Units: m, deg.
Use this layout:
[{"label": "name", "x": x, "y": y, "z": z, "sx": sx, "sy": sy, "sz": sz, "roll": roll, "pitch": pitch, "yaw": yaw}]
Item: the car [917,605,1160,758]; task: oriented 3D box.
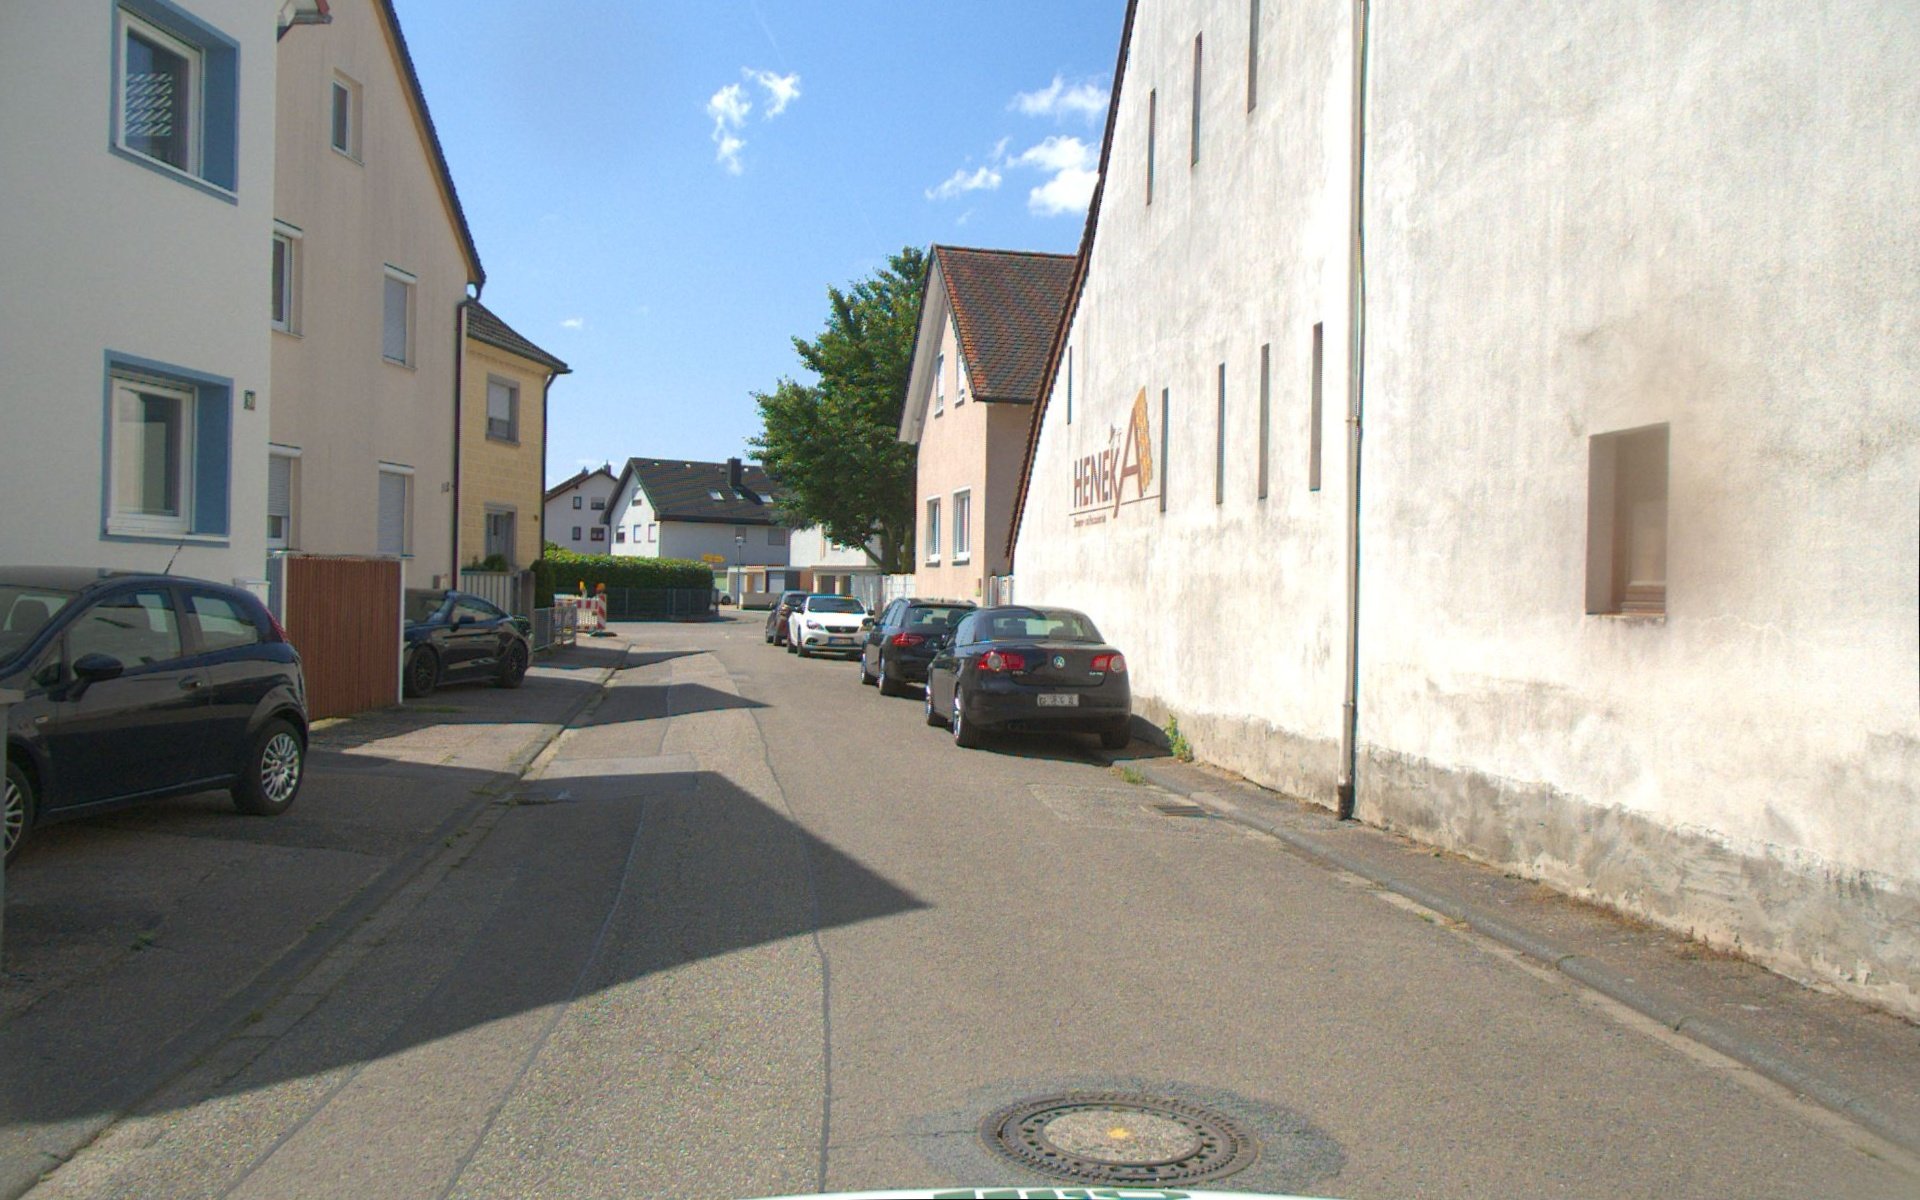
[{"label": "car", "x": 0.701, "y": 0.788, "z": 18.005, "sx": 1.860, "sy": 1.389, "sz": 4.407, "roll": 2, "pitch": 0, "yaw": -8}]

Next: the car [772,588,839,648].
[{"label": "car", "x": -4.385, "y": 0.484, "z": 46.515, "sx": 1.680, "sy": 1.559, "sz": 4.028, "roll": 2, "pitch": 0, "yaw": -8}]

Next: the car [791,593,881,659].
[{"label": "car", "x": -3.043, "y": 0.584, "z": 39.784, "sx": 1.860, "sy": 1.453, "sz": 4.729, "roll": 2, "pitch": 0, "yaw": -8}]

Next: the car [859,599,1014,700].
[{"label": "car", "x": -0.475, "y": 0.709, "z": 25.987, "sx": 1.860, "sy": 1.389, "sz": 4.729, "roll": 2, "pitch": 0, "yaw": -8}]

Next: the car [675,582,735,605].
[{"label": "car", "x": -17.077, "y": -0.465, "z": 110.801, "sx": 3.565, "sy": 1.433, "sz": 1.764, "roll": 1, "pitch": 0, "yaw": -33}]

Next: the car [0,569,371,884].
[{"label": "car", "x": -5.123, "y": 0.578, "z": 9.609, "sx": 1.603, "sy": 1.480, "sz": 3.790, "roll": 2, "pitch": 1, "yaw": 8}]

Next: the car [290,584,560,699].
[{"label": "car", "x": -7.208, "y": 0.543, "z": 22.814, "sx": 1.732, "sy": 1.373, "sz": 4.473, "roll": 2, "pitch": 0, "yaw": 8}]
